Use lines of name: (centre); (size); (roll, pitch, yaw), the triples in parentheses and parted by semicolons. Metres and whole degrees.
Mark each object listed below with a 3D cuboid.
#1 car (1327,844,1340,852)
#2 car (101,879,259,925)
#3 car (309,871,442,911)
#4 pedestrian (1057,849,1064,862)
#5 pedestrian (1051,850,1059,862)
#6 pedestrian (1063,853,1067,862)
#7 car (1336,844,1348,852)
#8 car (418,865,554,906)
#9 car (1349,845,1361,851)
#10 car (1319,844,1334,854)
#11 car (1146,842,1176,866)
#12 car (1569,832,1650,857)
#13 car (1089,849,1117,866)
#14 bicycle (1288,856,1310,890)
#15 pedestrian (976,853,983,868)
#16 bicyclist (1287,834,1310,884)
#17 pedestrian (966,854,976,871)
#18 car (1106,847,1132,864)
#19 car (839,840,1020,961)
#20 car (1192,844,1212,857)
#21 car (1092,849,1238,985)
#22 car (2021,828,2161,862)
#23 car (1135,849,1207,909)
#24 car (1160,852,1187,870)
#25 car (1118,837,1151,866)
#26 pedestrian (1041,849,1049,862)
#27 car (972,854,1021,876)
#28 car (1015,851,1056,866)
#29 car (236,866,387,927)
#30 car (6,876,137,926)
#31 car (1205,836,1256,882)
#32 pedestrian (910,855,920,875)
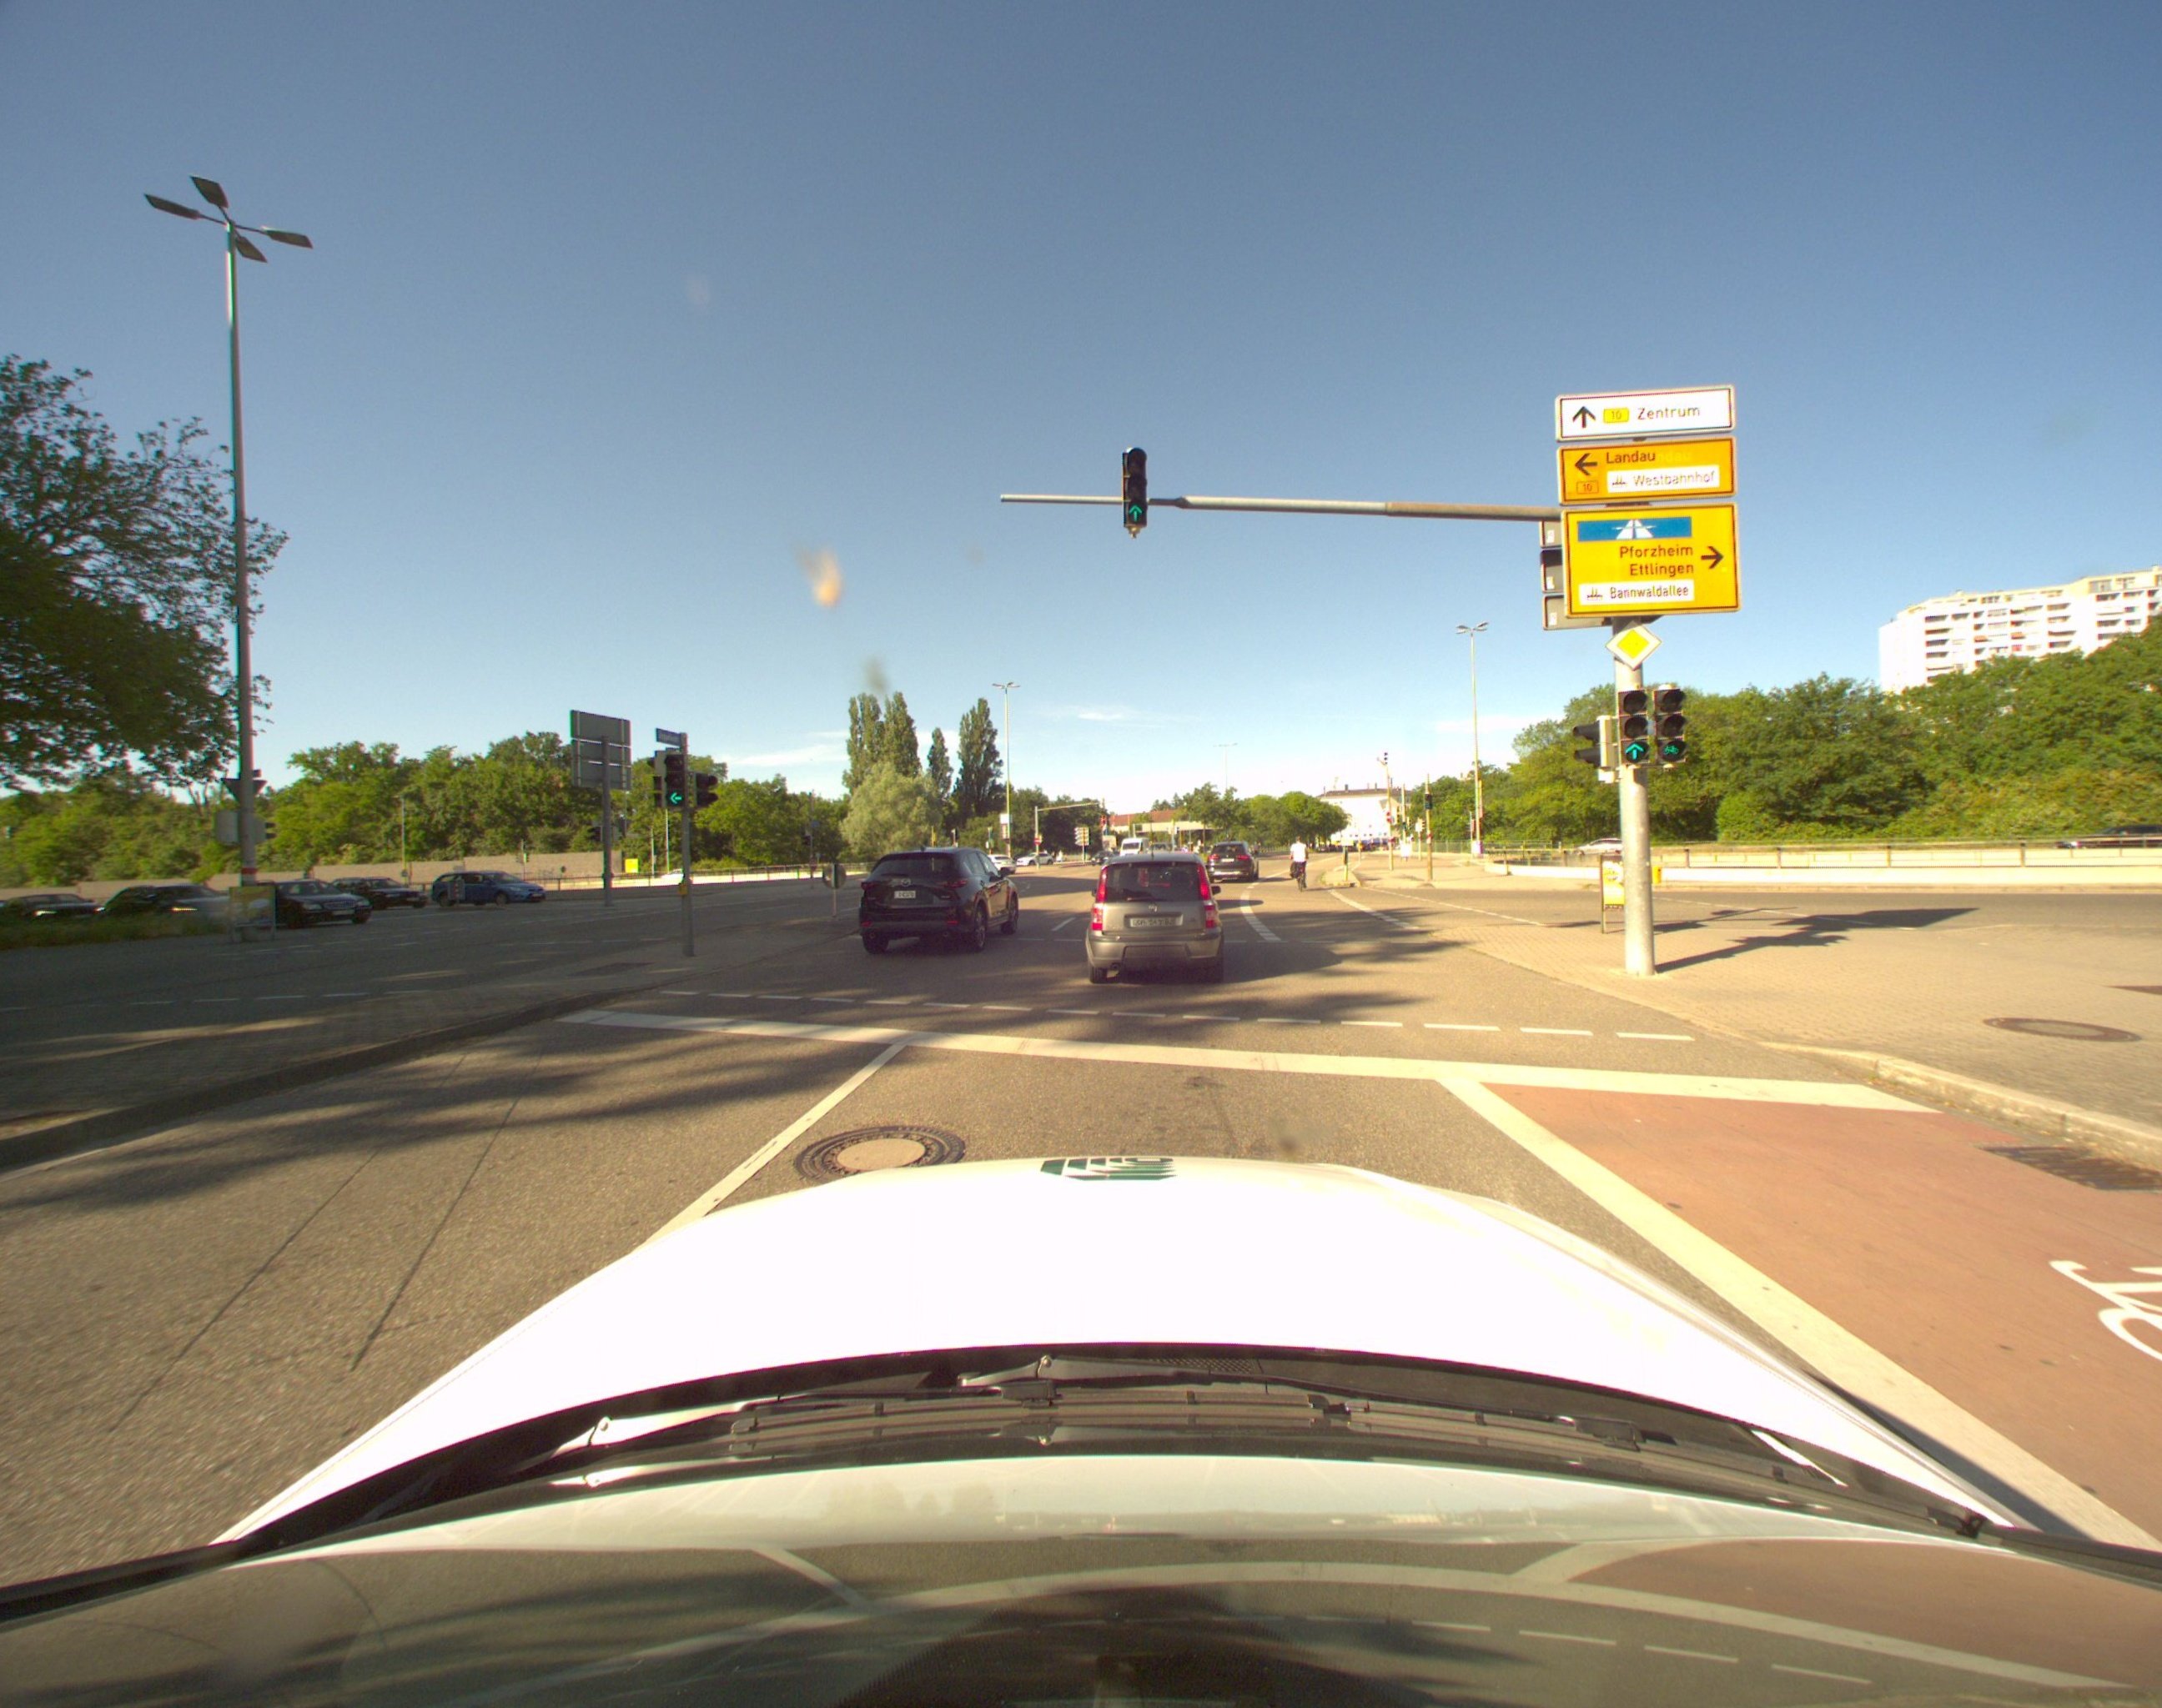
car: (46.658, -1.129, 150.321); (1.928, 1.528, 4.120); (-2, 0, 23)
car: (-29.938, 1.601, 27.073); (4.457, 1.358, 1.890); (-2, 0, 19)
car: (-30.536, 1.597, 35.303); (4.415, 1.540, 1.957); (-2, 0, 10)
pedestrian: (-2.777, 0.228, 109.205); (0.714, 1.641, 0.676); (-1, -2, 20)
pedestrian: (-3.524, 0.278, 110.267); (0.664, 1.503, 0.784); (-1, -2, 34)
pedestrian: (-2.109, 0.499, 109.066); (0.420, 1.136, 0.399); (-1, -2, 20)
car: (53.570, -1.292, 166.978); (1.928, 1.528, 4.120); (-2, 0, 23)
car: (-24.944, 1.316, 34.209); (4.419, 1.540, 1.956); (-2, 0, 7)
car: (67.552, -1.481, 200.984); (1.926, 1.528, 4.123); (-2, 0, 32)
car: (41.096, -0.887, 136.049); (1.928, 1.528, 4.120); (-2, 0, 22)
car: (7.303, -0.037, 74.125); (1.922, 2.008, 4.951); (-2, 0, 15)
car: (35.455, -0.647, 54.679); (1.872, 1.552, 4.192); (-2, 0, -45)
car: (2.137, 0.319, 78.392); (1.923, 1.507, 4.014); (-3, 0, 12)
bicycle: (7.320, 0.619, 27.398); (0.686, 1.102, 1.833); (-1, 0, 14)
pedestrian: (-10.603, 0.658, 85.195); (0.558, 1.547, 0.572); (-2, -1, -21)
bicyclist: (7.299, 0.155, 27.348); (0.719, 1.659, 1.117); (-1, 0, 14)
pedestrian: (-10.150, 0.773, 75.250); (0.712, 1.547, 0.723); (-2, -1, -21)
car: (3.986, 0.123, 85.447); (1.798, 1.541, 4.634); (-3, 0, 14)
car: (-2.352, 0.663, 13.880); (1.865, 1.709, 4.204); (-2, 0, 6)
car: (15.749, -0.433, 106.195); (1.922, 1.622, 4.525); (-2, 0, 16)
car: (1.090, 0.697, 11.048); (1.610, 1.515, 3.825); (-1, 0, 4)
car: (53.051, -0.446, 42.660); (4.617, 1.616, 1.873); (-2, 0, 34)
car: (2.476, 0.604, 21.749); (1.607, 1.463, 3.762); (-1, 0, 10)
car: (9.077, 0.698, 79.843); (1.922, 1.622, 4.524); (-2, 0, 15)
car: (5.159, -0.270, 77.788); (1.922, 2.576, 6.113); (-2, 0, 15)
pedestrian: (-4.633, 0.210, 103.927); (0.782, 1.664, 0.633); (-1, -2, 27)
car: (-5.986, 0.752, 57.313); (1.792, 1.415, 4.277); (-2, 0, -30)
car: (-4.919, 0.472, 88.209); (1.762, 1.535, 4.355); (0, 1, 43)
car: (-23.324, 1.256, 24.647); (4.724, 1.621, 1.964); (-2, 0, 29)
car: (-37.400, 1.719, 30.175); (4.147, 1.700, 1.824); (-2, 0, 21)
car: (6.564, 0.166, 35.423); (1.932, 1.840, 4.168); (1, 1, 13)
pedestrian: (-12.254, 0.795, 60.139); (0.679, 1.463, 0.700); (-2, 0, -11)
